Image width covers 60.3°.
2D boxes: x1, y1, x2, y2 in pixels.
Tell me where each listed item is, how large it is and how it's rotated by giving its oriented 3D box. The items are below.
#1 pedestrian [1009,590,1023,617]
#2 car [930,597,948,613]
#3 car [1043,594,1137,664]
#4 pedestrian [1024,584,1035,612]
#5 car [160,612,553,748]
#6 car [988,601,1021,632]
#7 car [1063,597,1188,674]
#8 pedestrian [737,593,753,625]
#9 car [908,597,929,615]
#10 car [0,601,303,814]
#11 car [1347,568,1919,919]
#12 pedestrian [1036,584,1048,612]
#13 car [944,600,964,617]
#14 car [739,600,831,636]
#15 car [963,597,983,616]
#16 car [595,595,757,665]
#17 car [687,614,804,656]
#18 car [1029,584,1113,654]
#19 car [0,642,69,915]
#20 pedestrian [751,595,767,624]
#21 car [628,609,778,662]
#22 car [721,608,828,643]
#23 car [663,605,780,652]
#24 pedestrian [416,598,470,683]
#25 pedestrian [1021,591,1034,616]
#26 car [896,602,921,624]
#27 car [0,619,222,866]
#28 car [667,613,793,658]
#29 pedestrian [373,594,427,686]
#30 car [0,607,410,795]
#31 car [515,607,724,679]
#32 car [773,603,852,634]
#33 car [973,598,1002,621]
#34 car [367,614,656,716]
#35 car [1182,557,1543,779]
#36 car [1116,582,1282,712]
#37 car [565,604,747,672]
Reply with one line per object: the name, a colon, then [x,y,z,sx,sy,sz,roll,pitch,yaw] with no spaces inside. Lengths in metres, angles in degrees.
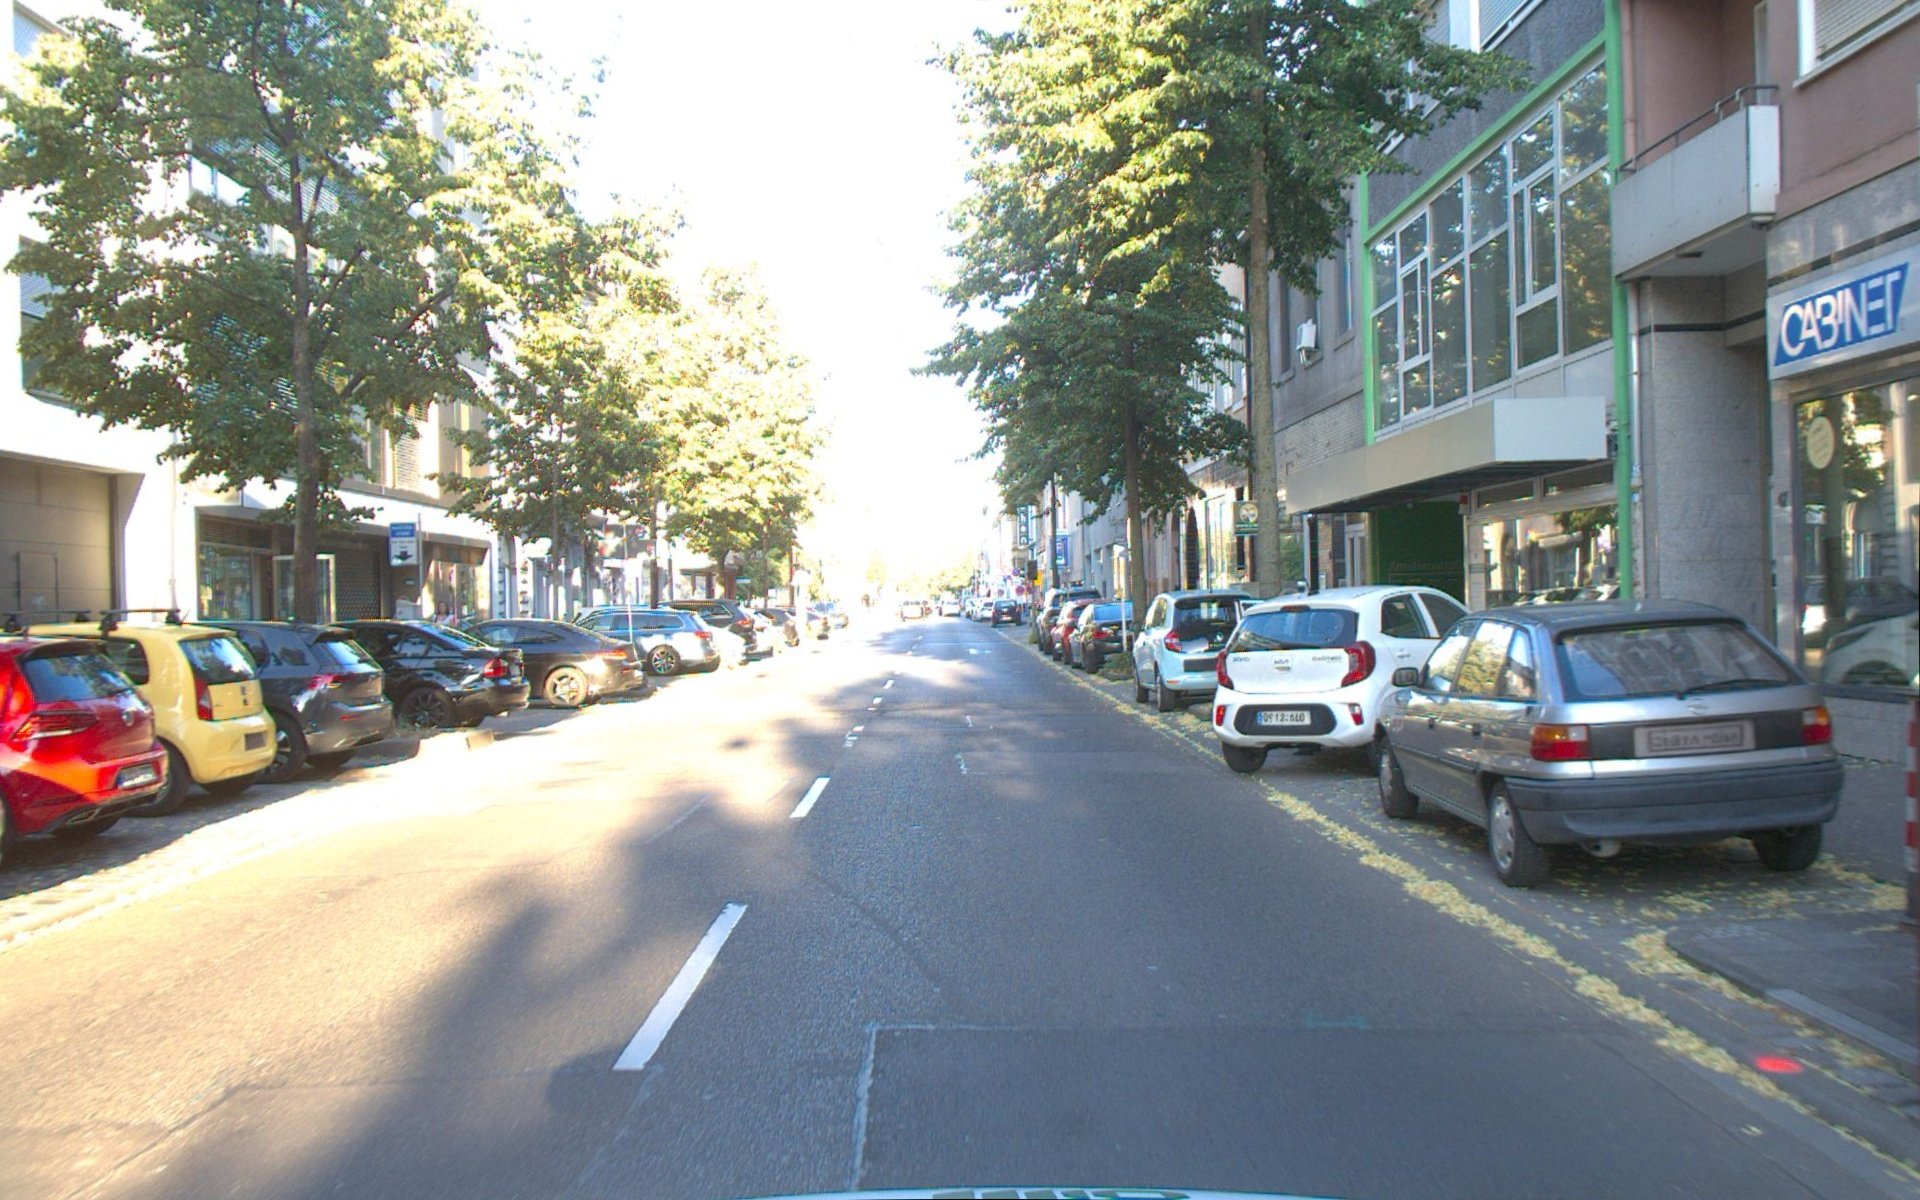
pedestrian: [3.879,0.253,114.589,0.757,1.859,1.010,-3,0,-1]
car: [-2.209,0.535,174.765,1.858,1.609,3.851,-1,0,-1]
car: [3.110,0.684,40.350,1.695,1.513,3.898,-4,0,-3]
pedestrian: [4.103,-0.120,97.294,0.592,1.627,0.773,-1,0,-2]
car: [-7.332,0.946,20.424,4.189,1.510,1.743,-1,0,-3]
car: [2.518,0.938,94.589,1.723,1.563,4.000,-5,0,0]
car: [3.448,0.704,35.301,1.913,1.414,4.422,-4,0,-3]
pedestrian: [-11.362,0.485,87.404,0.756,1.636,0.875,0,-2,-1]
car: [-3.892,0.564,155.164,1.858,1.678,4.103,-1,0,-1]
car: [-7.612,0.844,13.498,3.789,1.595,1.743,-1,0,-3]
car: [3.676,0.672,9.825,1.788,1.498,3.991,-5,0,1]
pedestrian: [4.834,-0.107,97.340,0.592,1.627,0.773,-1,0,-2]
car: [-0.605,0.842,161.534,1.858,1.609,3.999,0,0,-1]
car: [-7.906,0.810,75.035,3.989,1.563,1.884,0,0,-1]
car: [1.163,0.603,147.233,1.694,1.679,4.283,0,0,-1]
car: [-7.585,0.798,44.416,4.066,1.804,1.889,0,0,-3]
car: [-7.630,1.225,59.108,4.025,1.428,1.883,0,0,-3]
car: [3.104,0.504,47.094,1.997,1.767,4.711,-4,0,0]
car: [-7.010,0.959,8.425,3.961,1.411,1.743,0,0,-5]
pedestrian: [-10.629,0.513,87.584,0.719,1.555,0.875,0,-2,-1]
car: [-7.320,1.005,47.439,4.066,1.446,1.766,0,0,-3]
car: [-7.997,1.090,71.683,4.478,1.432,1.821,0,0,-2]
car: [-7.796,0.928,54.329,3.664,1.469,1.805,0,0,-4]
pedestrian: [-10.186,0.790,32.608,0.704,1.630,1.094,1,0,0]
pedestrian: [4.657,0.237,114.671,0.757,1.741,1.041,-3,0,-1]
car: [-3.952,0.995,128.537,1.858,1.678,4.103,-1,0,-1]
car: [-7.172,0.912,10.924,3.789,1.482,1.743,-1,0,-3]
car: [-7.882,1.220,56.928,4.013,1.428,1.843,-1,0,1]
pedestrian: [-11.040,0.775,32.621,0.704,1.780,0.933,1,0,0]
car: [-7.375,0.903,15.584,3.789,1.595,1.743,-1,0,-3]
car: [-7.705,0.967,37.767,4.459,1.510,1.742,-1,0,-5]
car: [-8.951,1.120,100.607,4.350,1.721,1.869,-2,1,10]
car: [1.847,0.680,113.267,1.724,1.563,4.818,0,-1,-3]
car: [-7.205,1.025,26.865,4.187,1.510,1.744,-1,0,-1]
car: [3.697,0.544,14.823,1.635,1.611,3.606,-5,0,40]
car: [3.245,0.592,23.027,1.657,1.569,3.552,-3,0,-1]
car: [-7.701,0.947,42.209,4.317,1.624,1.889,0,0,-2]
